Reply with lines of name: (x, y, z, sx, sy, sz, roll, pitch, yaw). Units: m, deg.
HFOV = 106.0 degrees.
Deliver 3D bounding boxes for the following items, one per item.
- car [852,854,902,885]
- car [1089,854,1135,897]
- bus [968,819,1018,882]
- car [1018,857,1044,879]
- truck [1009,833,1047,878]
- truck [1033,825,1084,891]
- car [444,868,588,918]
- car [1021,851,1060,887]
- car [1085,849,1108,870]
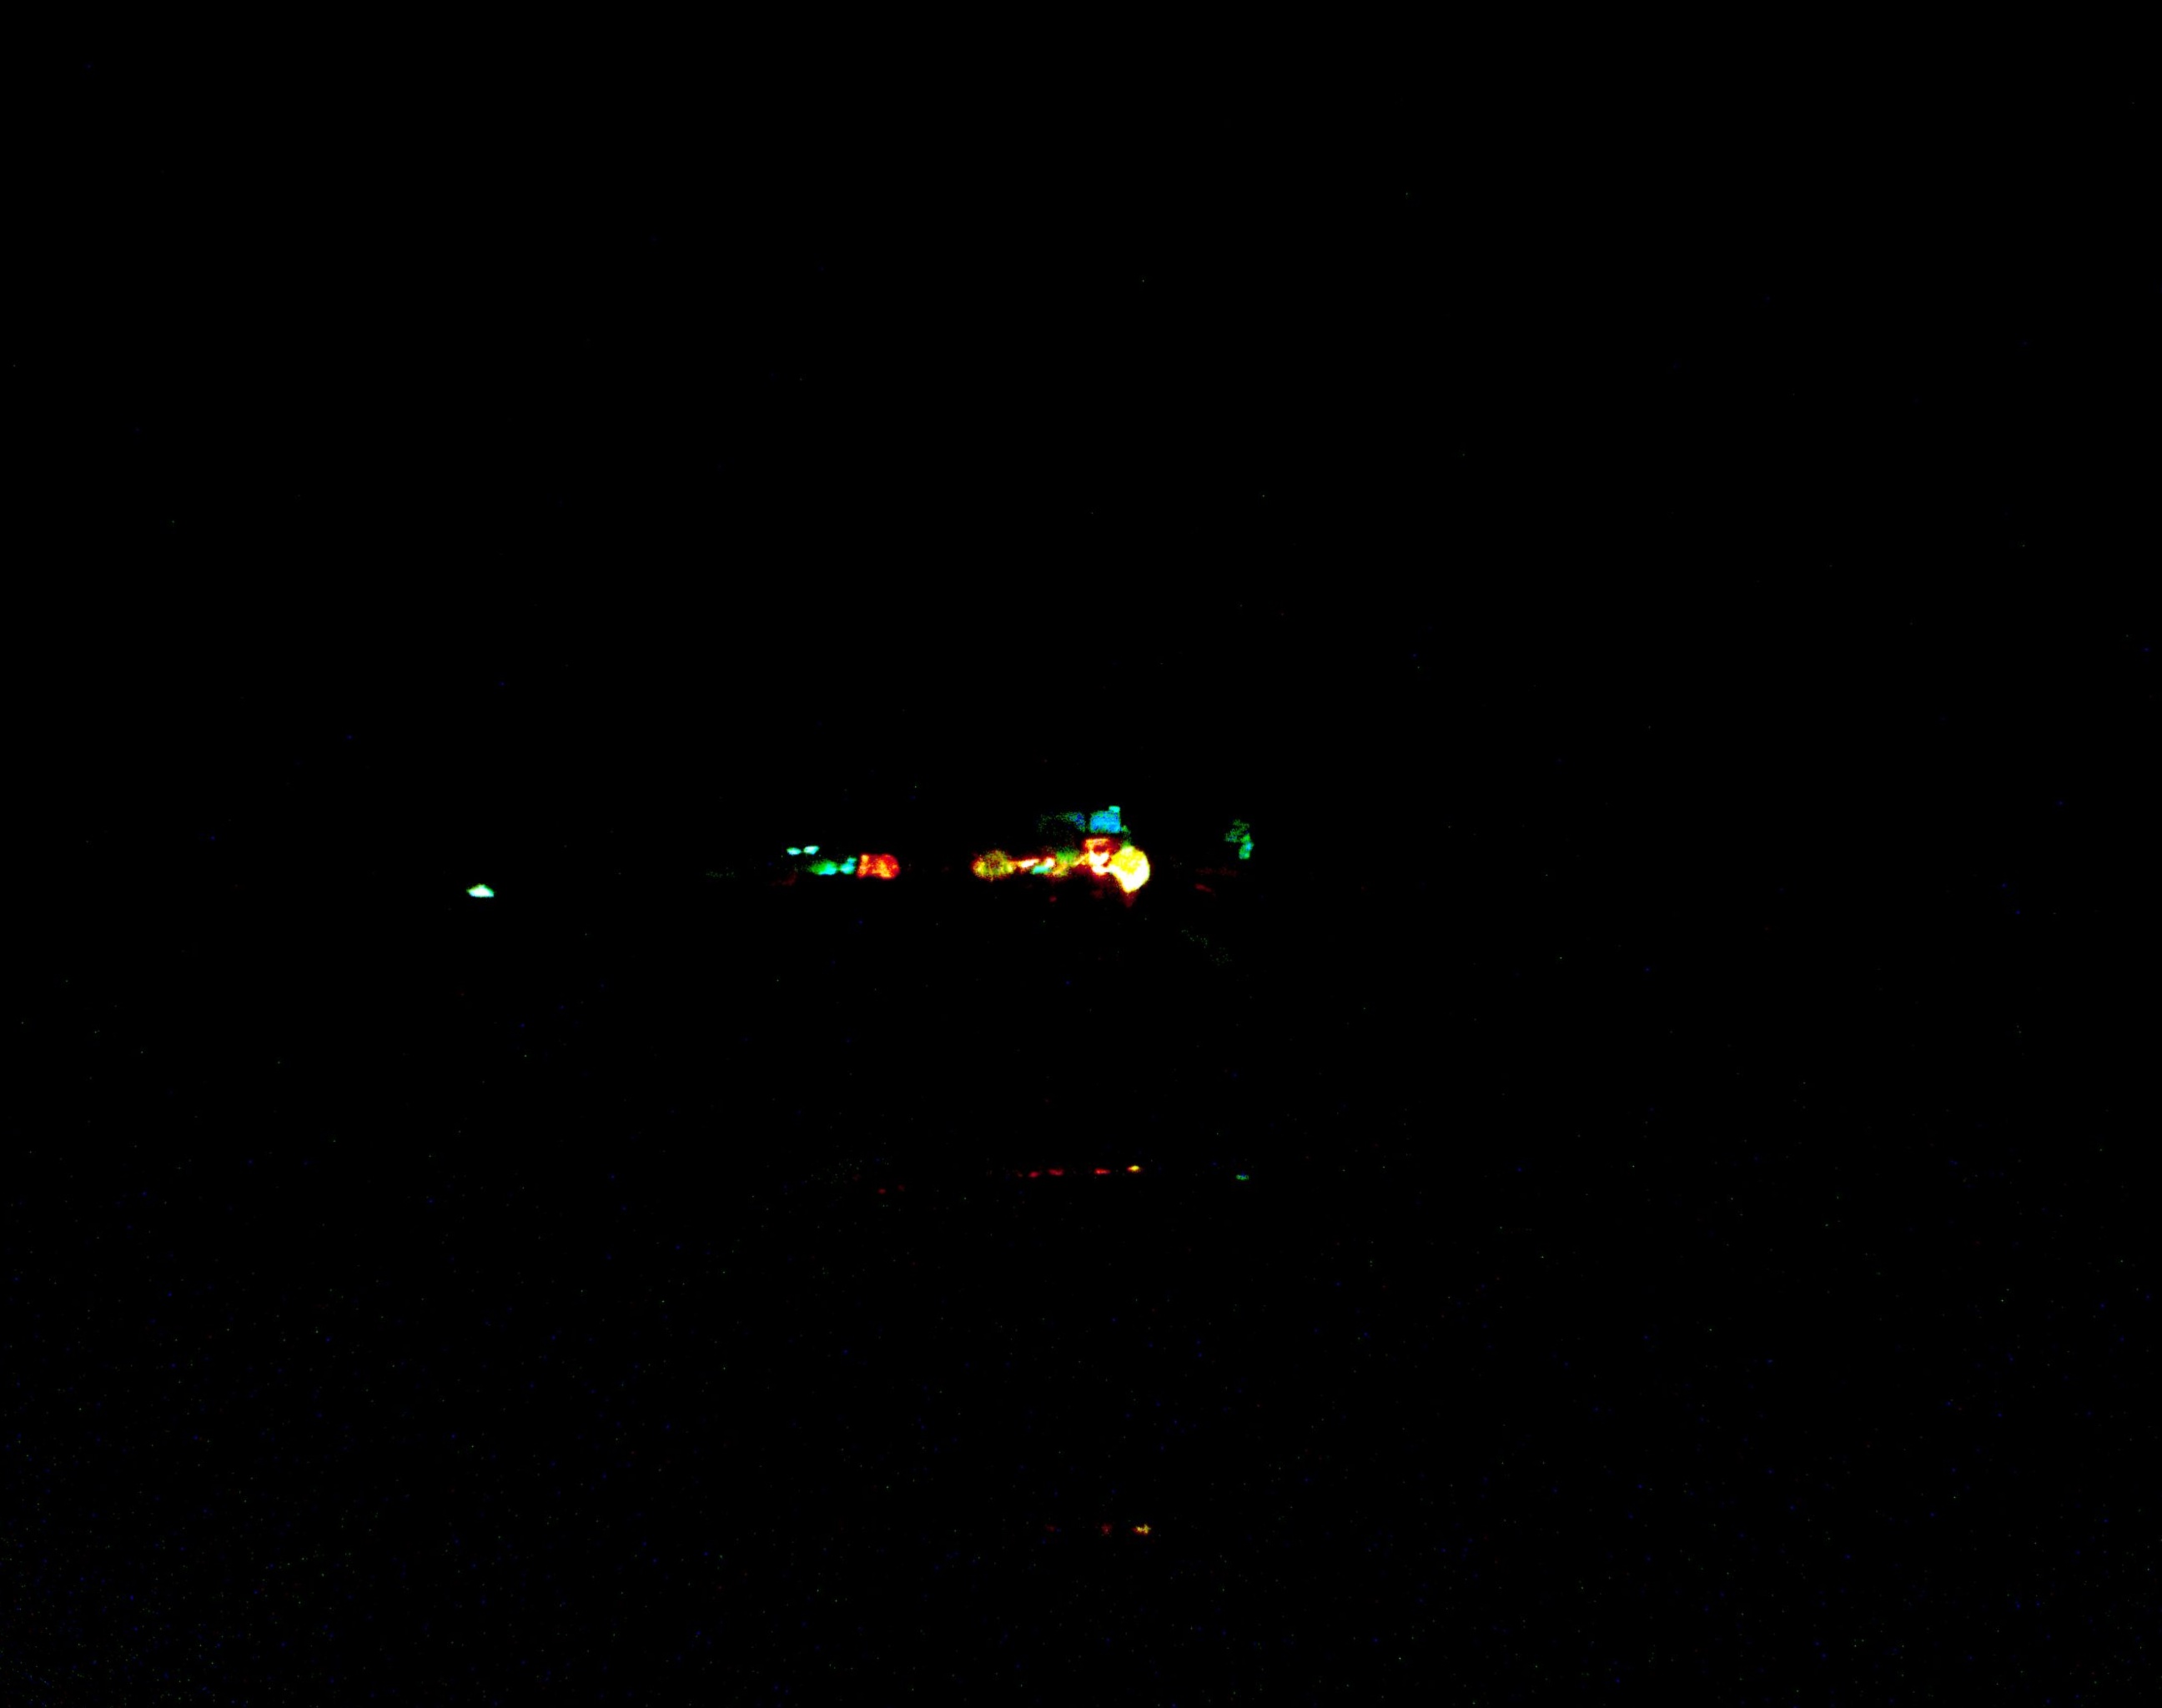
car: (-10.956, 0.833, 44.081, 1.990, 1.596, 3.993, 0, -1, -5)
car: (1.399, 0.947, 37.259, 1.986, 1.807, 4.001, -1, -1, 1)
bus: (-6.853, -0.213, 64.766, 3.089, 4.508, 10.904, -1, -1, -2)
car: (-4.152, 1.135, 67.696, 1.988, 1.807, 3.997, -1, -1, -2)
truck: (-7.037, 0.243, 110.595, 4.195, 5.648, 11.469, -1, -1, 1)
truck: (-1.940, 0.406, 76.170, 4.195, 5.648, 11.469, -1, -1, 1)
car: (-19.627, 1.310, 28.565, 1.873, 1.557, 4.461, -1, -1, 1)
car: (-2.351, 0.868, 48.295, 2.119, 2.014, 4.644, -1, -1, -1)
car: (1.498, 0.523, 80.988, 2.119, 2.014, 4.644, -1, -1, -1)
